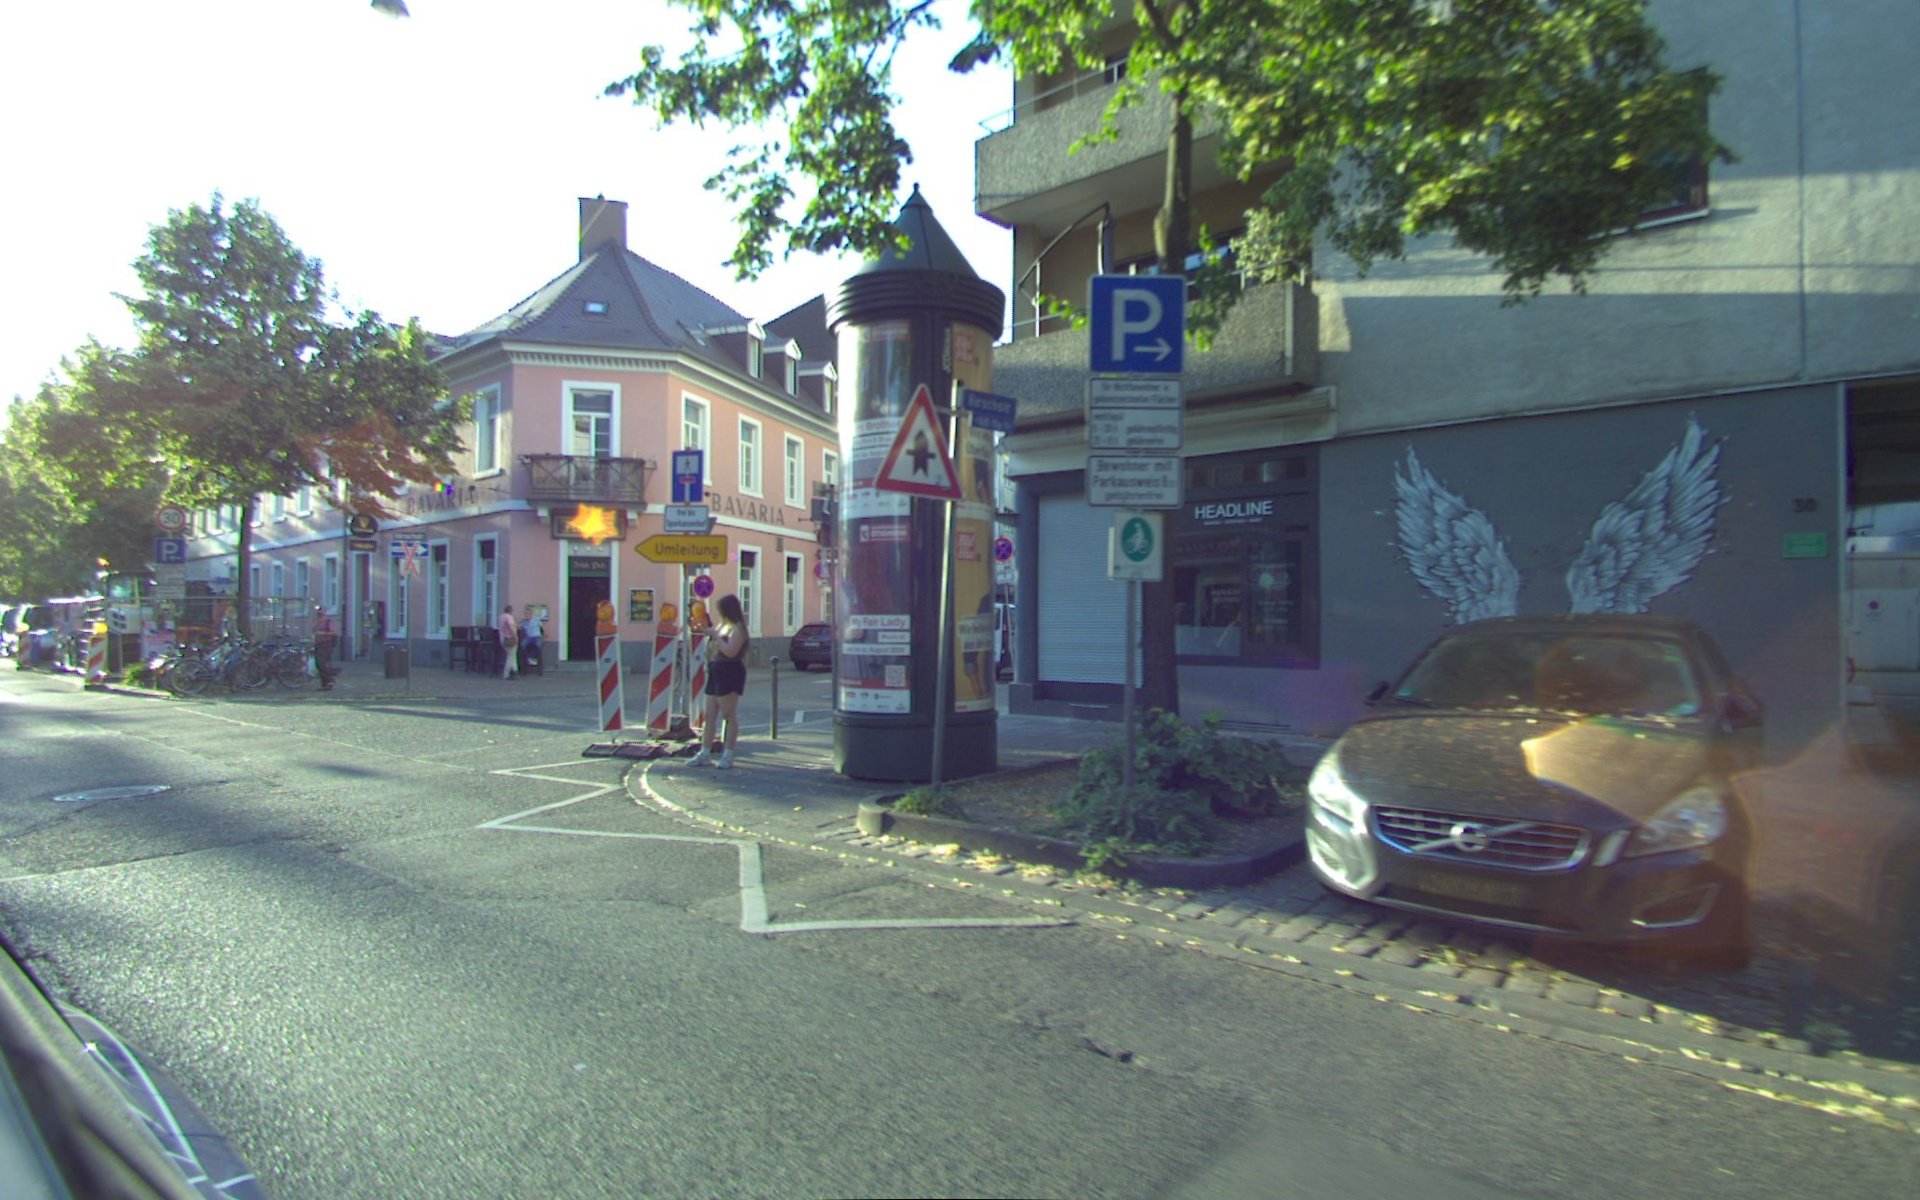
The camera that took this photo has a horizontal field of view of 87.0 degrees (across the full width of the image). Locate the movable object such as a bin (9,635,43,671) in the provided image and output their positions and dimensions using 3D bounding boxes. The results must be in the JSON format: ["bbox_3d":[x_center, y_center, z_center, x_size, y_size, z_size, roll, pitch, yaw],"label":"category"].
[{"bbox_3d":[-29.470,1.669,31.924,0.883,1.113,0.682,-1,-3,43],"label":"movable object such as a bin"}]

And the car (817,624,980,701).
[{"bbox_3d":[-1.123,1.182,20.730,1.984,1.390,4.184,0,-1,18],"label":"car"}]

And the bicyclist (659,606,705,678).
[{"bbox_3d":[-5.842,0.879,21.299,0.582,1.469,0.737,-3,-2,25],"label":"bicyclist"}]

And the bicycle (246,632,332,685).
[{"bbox_3d":[-16.025,1.379,24.210,0.445,1.157,1.664,0,0,44],"label":"bicycle"}]

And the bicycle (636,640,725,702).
[{"bbox_3d":[-5.833,1.460,21.267,0.582,1.202,2.107,-3,-2,25],"label":"bicycle"}]

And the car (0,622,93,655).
[{"bbox_3d":[-45.159,1.867,49.196,1.734,1.496,4.429,-2,-1,43],"label":"car"}]

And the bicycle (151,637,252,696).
[{"bbox_3d":[-15.996,1.386,21.379,1.662,1.086,0.445,-2,2,-41],"label":"bicycle"}]

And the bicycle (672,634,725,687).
[{"bbox_3d":[-6.421,1.459,24.955,0.579,1.202,1.938,1,-1,7],"label":"bicycle"}]

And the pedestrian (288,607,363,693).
[{"bbox_3d":[-13.296,1.038,21.227,1.027,1.779,0.817,0,-1,7],"label":"pedestrian"}]

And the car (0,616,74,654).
[{"bbox_3d":[-48.863,1.785,51.989,1.972,1.922,4.820,-2,-2,41],"label":"car"}]

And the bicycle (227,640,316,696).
[{"bbox_3d":[-14.423,1.411,21.232,0.470,1.067,1.474,0,0,35],"label":"bicycle"}]

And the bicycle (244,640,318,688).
[{"bbox_3d":[-15.139,1.414,22.581,0.445,0.987,1.309,0,0,44],"label":"bicycle"}]

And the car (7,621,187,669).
[{"bbox_3d":[-29.530,1.492,34.736,1.893,1.481,4.543,-2,-1,44],"label":"car"}]

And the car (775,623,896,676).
[{"bbox_3d":[-3.721,1.476,31.075,1.982,1.482,4.501,-1,-2,18],"label":"car"}]

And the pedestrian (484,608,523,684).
[{"bbox_3d":[-10.826,1.074,24.016,0.718,1.750,0.501,1,0,32],"label":"pedestrian"}]

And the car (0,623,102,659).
[{"bbox_3d":[-41.146,1.805,45.388,1.905,1.512,3.879,-2,-1,43],"label":"car"}]

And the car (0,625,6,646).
[{"bbox_3d":[-69.196,2.476,70.314,1.593,1.450,4.107,-2,-2,42],"label":"car"}]

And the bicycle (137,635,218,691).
[{"bbox_3d":[-17.528,1.383,22.698,0.439,1.125,1.545,-1,1,8],"label":"bicycle"}]

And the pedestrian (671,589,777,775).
[{"bbox_3d":[-2.284,0.756,9.791,0.701,1.699,0.835,1,-2,-40],"label":"pedestrian"}]

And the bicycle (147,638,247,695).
[{"bbox_3d":[-16.411,1.412,21.794,1.662,1.086,0.445,-2,2,-41],"label":"bicycle"}]

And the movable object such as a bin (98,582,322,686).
[{"bbox_3d":[-20.137,0.892,27.610,2.278,2.514,5.762,0,-1,-6],"label":"movable object such as a bin"}]

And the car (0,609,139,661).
[{"bbox_3d":[-35.886,1.372,40.498,2.067,1.991,4.436,-2,-2,41],"label":"car"}]

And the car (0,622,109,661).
[{"bbox_3d":[-39.172,1.745,43.024,1.838,1.512,4.287,-1,-1,36],"label":"car"}]

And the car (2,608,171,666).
[{"bbox_3d":[-31.880,1.296,37.037,1.963,1.991,4.439,-2,-1,39],"label":"car"}]

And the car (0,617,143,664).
[{"bbox_3d":[-33.962,1.500,38.643,1.859,1.649,4.086,-2,-1,41],"label":"car"}]

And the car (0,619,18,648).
[{"bbox_3d":[-63.629,2.166,65.260,1.806,1.820,4.093,-2,-2,42],"label":"car"}]

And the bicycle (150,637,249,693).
[{"bbox_3d":[-16.733,1.415,22.287,0.444,1.086,1.665,0,2,40],"label":"bicycle"}]

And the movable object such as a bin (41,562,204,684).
[{"bbox_3d":[-23.012,0.625,27.727,5.300,2.991,2.597,-1,-2,41],"label":"movable object such as a bin"}]

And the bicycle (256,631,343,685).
[{"bbox_3d":[-15.511,1.342,23.794,0.445,1.157,1.664,0,0,44],"label":"bicycle"}]

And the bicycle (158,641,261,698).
[{"bbox_3d":[-15.468,1.413,20.881,1.662,1.029,0.445,-2,2,-41],"label":"bicycle"}]

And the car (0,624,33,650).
[{"bbox_3d":[-55.031,2.080,56.984,1.962,1.495,3.996,-1,-2,40],"label":"car"}]

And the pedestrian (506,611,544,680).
[{"bbox_3d":[-10.768,1.107,25.045,0.718,1.662,0.501,1,0,32],"label":"pedestrian"}]

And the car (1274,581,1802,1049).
[{"bbox_3d":[3.537,0.731,5.690,1.810,1.553,4.500,-1,-1,40],"label":"car"}]
